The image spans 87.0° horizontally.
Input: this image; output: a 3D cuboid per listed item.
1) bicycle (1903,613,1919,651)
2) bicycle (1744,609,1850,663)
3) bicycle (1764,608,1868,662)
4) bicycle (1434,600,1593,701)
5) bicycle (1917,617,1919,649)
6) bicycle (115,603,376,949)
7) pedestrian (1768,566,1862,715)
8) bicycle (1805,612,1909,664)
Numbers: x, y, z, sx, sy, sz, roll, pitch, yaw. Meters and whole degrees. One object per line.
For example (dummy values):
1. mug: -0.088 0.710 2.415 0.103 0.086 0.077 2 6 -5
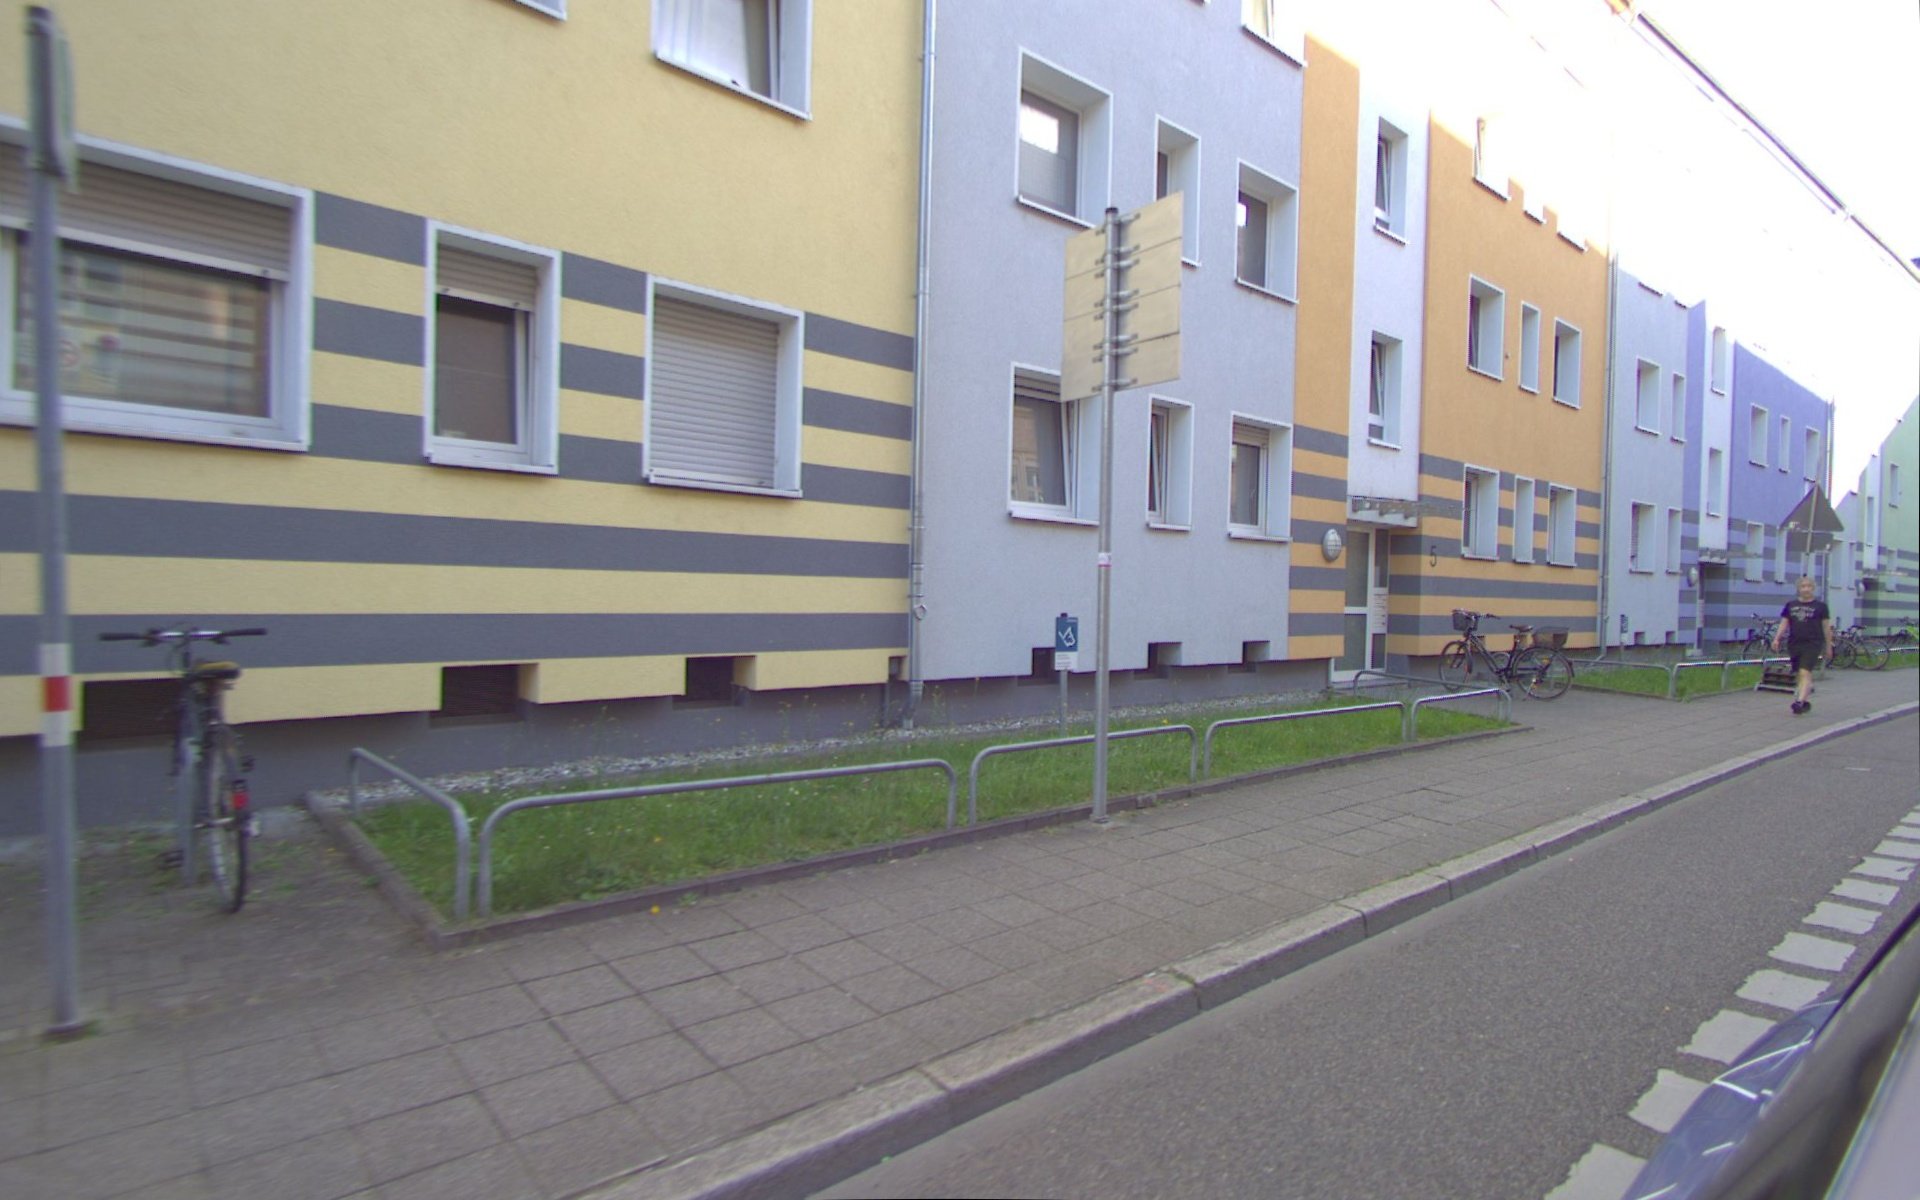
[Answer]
1. bicycle: 29.991 1.017 30.898 0.575 1.117 1.708 1 2 -44
2. bicycle: 18.638 0.780 22.561 0.625 1.058 1.710 1 2 -40
3. bicycle: 19.589 0.791 23.182 0.625 1.095 1.710 1 2 -41
4. bicycle: 7.327 0.628 13.455 0.625 1.173 1.708 1 2 -44
5. bicycle: 31.199 1.089 31.699 0.507 0.990 1.708 1 2 -44
6. bicycle: -3.137 0.603 4.354 0.625 1.074 1.945 1 2 -44
7. pedestrian: 11.049 0.501 13.080 0.899 1.810 0.646 1 4 -39
8. bicycle: 20.562 0.856 23.221 0.625 1.048 1.708 1 2 -44
